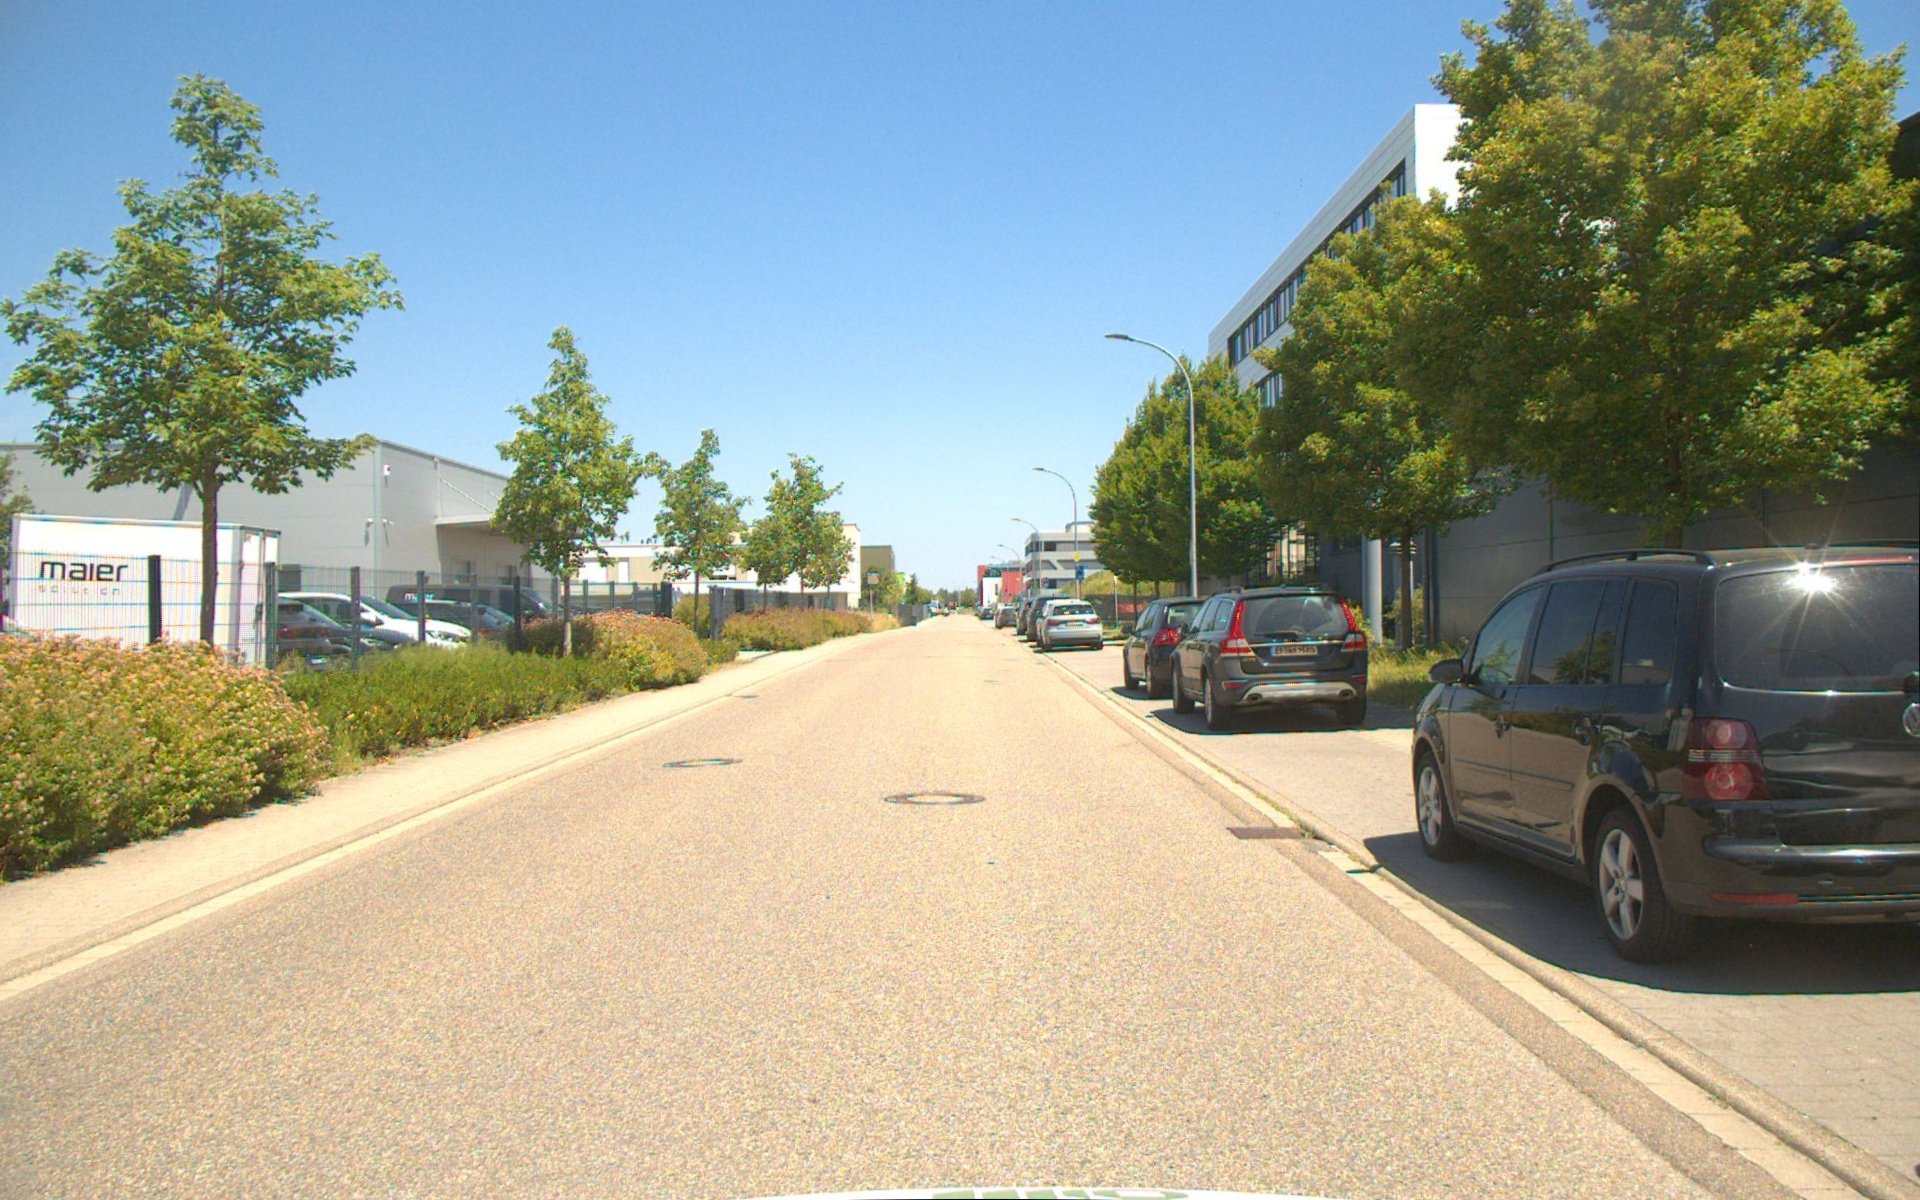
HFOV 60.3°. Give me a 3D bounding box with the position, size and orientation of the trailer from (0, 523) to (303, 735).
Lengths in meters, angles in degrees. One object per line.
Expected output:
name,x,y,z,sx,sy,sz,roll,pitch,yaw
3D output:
trailer,-10.249,0.333,19.956,3.907,2.401,1.725,1,-1,-3

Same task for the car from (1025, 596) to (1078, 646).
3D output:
car,3.350,0.754,61.213,1.721,1.692,4.363,-2,0,1

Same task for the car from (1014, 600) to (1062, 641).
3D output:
car,3.453,0.891,73.920,1.767,1.691,4.607,-3,0,-1

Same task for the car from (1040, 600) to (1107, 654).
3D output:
car,3.327,0.768,49.126,1.681,1.448,3.951,-3,0,1

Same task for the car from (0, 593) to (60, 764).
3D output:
car,-10.359,0.694,14.327,4.122,1.477,1.776,0,0,-3

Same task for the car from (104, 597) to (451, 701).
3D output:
car,-10.687,0.748,26.147,4.635,1.562,2.000,0,0,0

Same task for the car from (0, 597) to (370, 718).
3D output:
car,-10.708,0.758,22.719,4.454,1.562,2.000,0,0,0

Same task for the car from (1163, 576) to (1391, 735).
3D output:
car,3.714,0.610,20.229,1.771,1.646,4.713,-2,0,-1

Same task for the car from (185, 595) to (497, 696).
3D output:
car,-10.637,0.765,28.667,4.635,1.657,2.000,0,0,0

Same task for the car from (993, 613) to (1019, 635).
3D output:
car,3.589,1.856,129.365,1.868,1.573,4.001,-2,-1,3

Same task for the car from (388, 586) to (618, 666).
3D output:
car,-10.874,0.609,39.636,4.956,1.883,1.964,0,0,-1

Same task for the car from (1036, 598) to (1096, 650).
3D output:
car,3.403,0.754,53.710,1.681,1.507,4.031,-3,0,1

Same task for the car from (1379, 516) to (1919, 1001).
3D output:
car,3.505,0.553,8.088,1.702,1.699,4.367,-2,0,-1

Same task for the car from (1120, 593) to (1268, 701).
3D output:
car,3.612,0.689,26.203,1.657,1.502,4.268,-2,0,-1

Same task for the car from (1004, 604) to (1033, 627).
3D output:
car,4.035,1.042,113.492,1.868,1.473,4.001,-2,-1,3

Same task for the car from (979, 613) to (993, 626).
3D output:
car,3.538,2.650,224.371,1.739,1.758,4.000,1,-1,0
